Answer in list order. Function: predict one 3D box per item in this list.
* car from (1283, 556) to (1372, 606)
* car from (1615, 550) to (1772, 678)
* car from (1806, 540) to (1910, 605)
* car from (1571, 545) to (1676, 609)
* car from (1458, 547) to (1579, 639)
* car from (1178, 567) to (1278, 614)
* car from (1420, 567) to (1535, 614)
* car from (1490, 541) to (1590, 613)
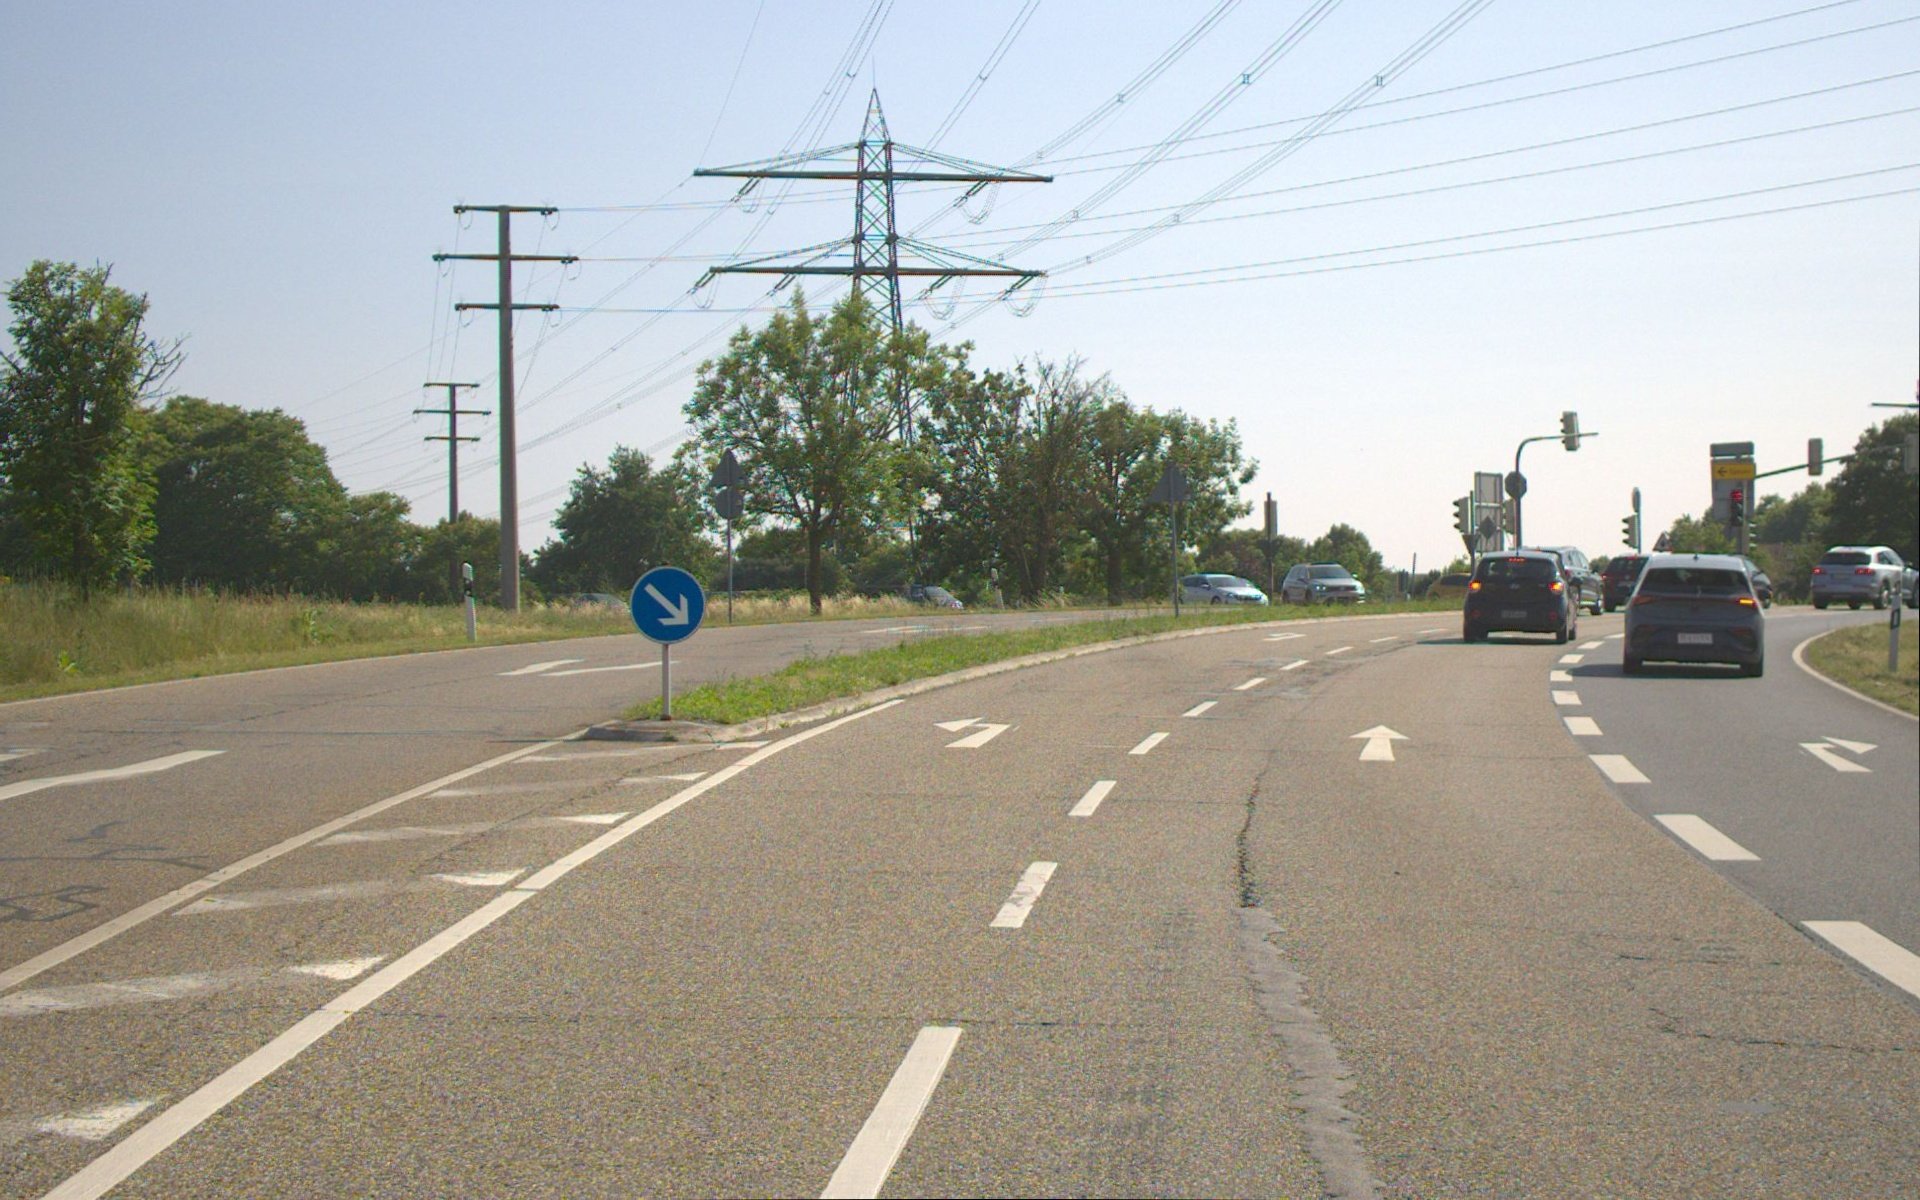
[{"bbox_3d":[12.331,-0.622,115.564,1.814,1.645,4.001,0,0,-12],"label":"car"},{"bbox_3d":[9.534,0.139,44.907,1.773,1.512,4.098,2,1,9],"label":"car"},{"bbox_3d":[23.771,-0.707,90.974,1.636,1.671,3.743,1,1,31],"label":"car"},{"bbox_3d":[16.867,-0.577,87.306,1.744,1.563,3.619,1,1,25],"label":"car"},{"bbox_3d":[9.187,-0.130,56.372,1.634,1.443,3.292,1,1,15],"label":"car"},{"bbox_3d":[9.644,-0.329,123.886,1.814,1.645,4.000,0,0,-26],"label":"car"},{"bbox_3d":[18.735,-0.334,124.585,1.815,1.645,3.999,0,0,-37],"label":"car"},{"bbox_3d":[13.350,-0.541,79.040,1.743,1.563,3.621,2,2,17],"label":"car"}]
